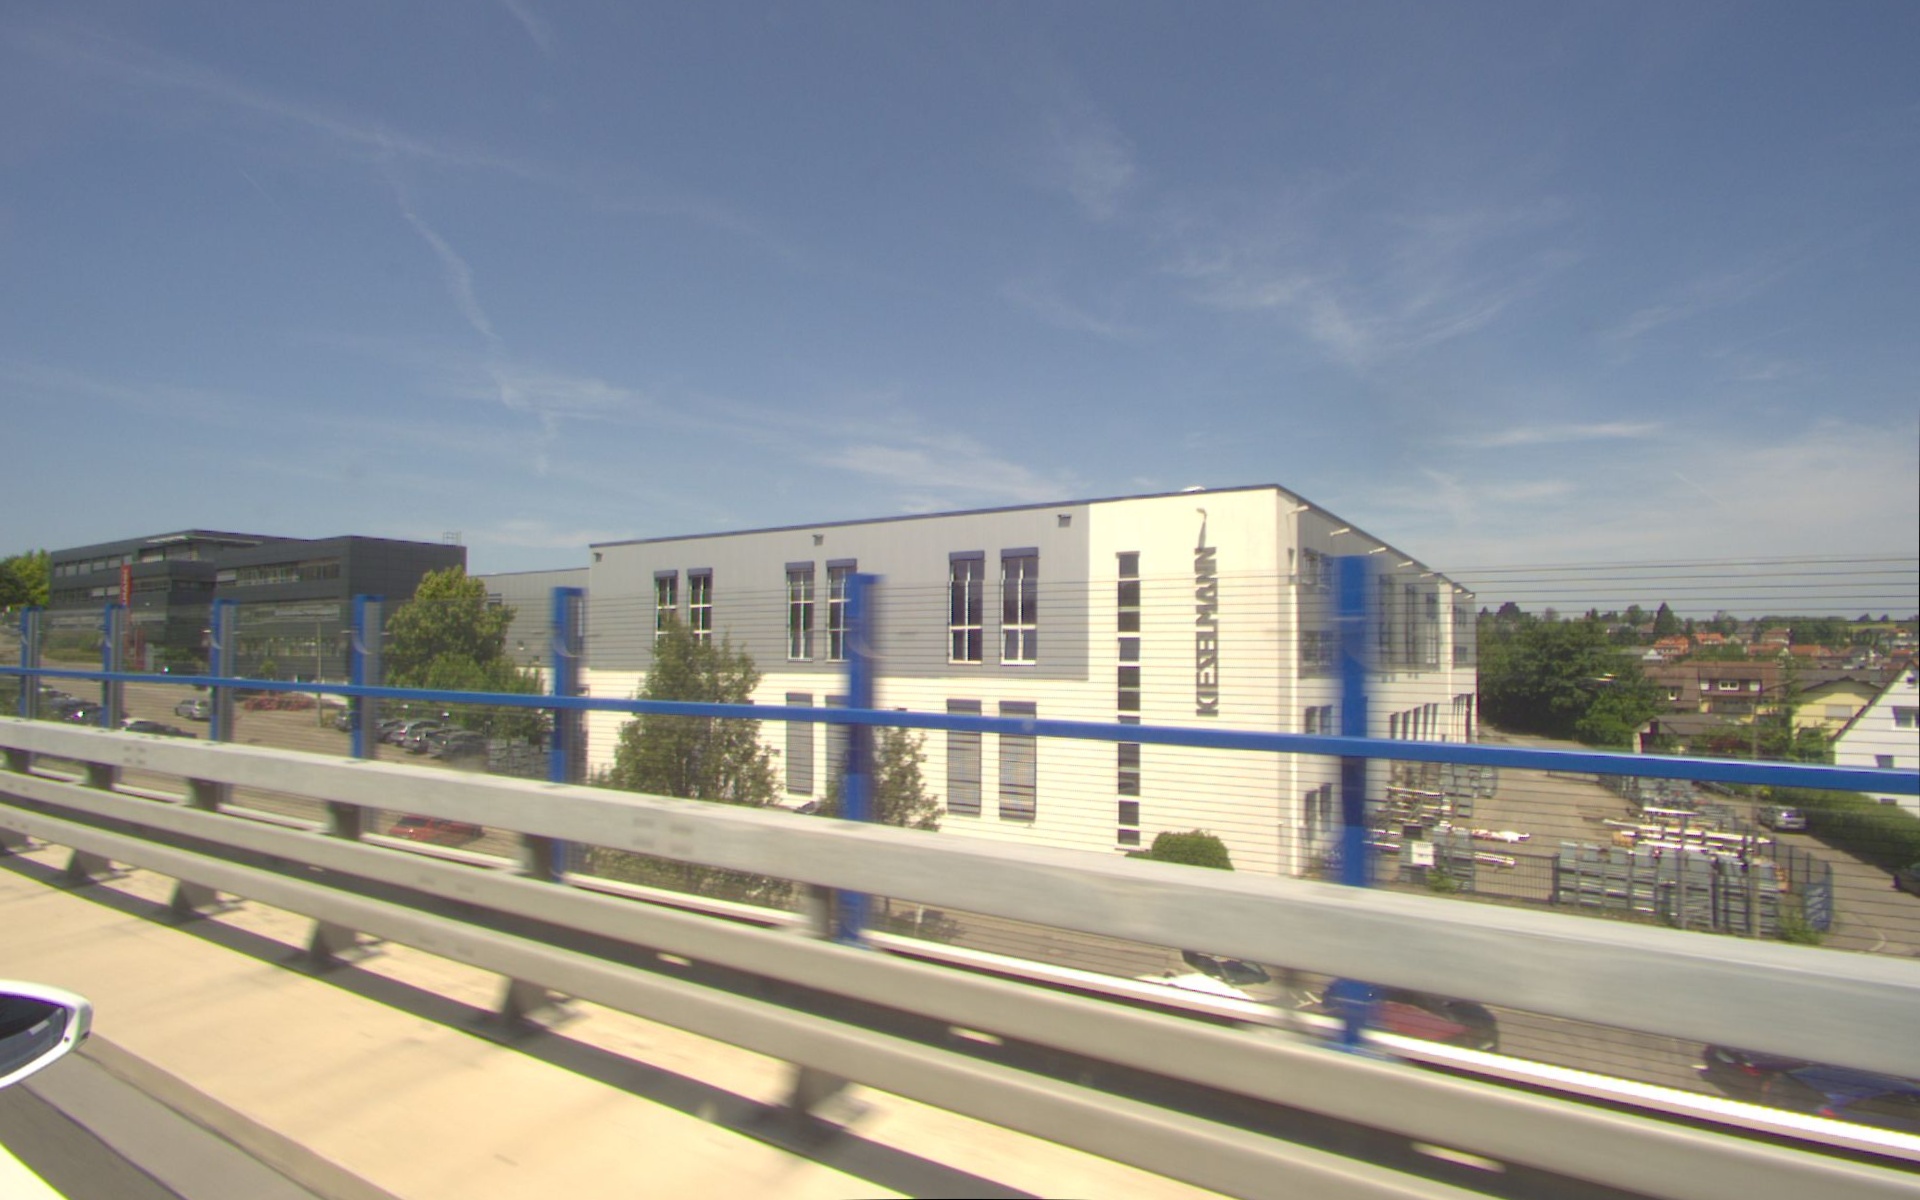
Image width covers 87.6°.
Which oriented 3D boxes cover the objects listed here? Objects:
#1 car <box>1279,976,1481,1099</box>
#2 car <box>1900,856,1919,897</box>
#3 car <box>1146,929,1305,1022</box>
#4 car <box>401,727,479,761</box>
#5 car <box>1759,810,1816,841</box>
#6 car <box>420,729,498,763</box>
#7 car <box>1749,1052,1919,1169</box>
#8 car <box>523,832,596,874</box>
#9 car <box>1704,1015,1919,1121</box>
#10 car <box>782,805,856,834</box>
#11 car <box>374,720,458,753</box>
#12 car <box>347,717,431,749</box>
[{"bbox_3d":[9.122,9.526,22.095,1.703,1.381,3.991,7,-9,-25],"label":"car"},{"bbox_3d":[41.269,11.703,41.839,1.795,1.584,3.996,-1,-10,27],"label":"car"},{"bbox_3d":[6.907,9.783,26.380,1.706,1.381,3.983,8,-9,-31],"label":"car"},{"bbox_3d":[-33.528,9.275,64.650,1.883,1.593,4.032,3,0,31],"label":"car"},{"bbox_3d":[50.522,13.747,61.203,1.795,1.584,3.996,-1,-10,27],"label":"car"},{"bbox_3d":[-31.745,9.221,63.512,1.883,1.593,4.032,3,0,31],"label":"car"},{"bbox_3d":[17.650,9.700,18.943,3.922,1.381,1.732,2,-8,6],"label":"car"},{"bbox_3d":[-15.551,9.832,39.070,1.483,1.160,3.690,4,-8,-3],"label":"car"},{"bbox_3d":[18.556,9.985,21.385,3.922,1.381,1.732,2,-8,6],"label":"car"},{"bbox_3d":[-6.857,10.717,49.087,1.491,1.160,3.669,-2,-9,34],"label":"car"},{"bbox_3d":[-35.836,8.977,66.124,1.793,1.593,4.566,3,0,31],"label":"car"},{"bbox_3d":[-38.334,8.880,67.294,1.793,1.593,4.566,3,0,31],"label":"car"}]
